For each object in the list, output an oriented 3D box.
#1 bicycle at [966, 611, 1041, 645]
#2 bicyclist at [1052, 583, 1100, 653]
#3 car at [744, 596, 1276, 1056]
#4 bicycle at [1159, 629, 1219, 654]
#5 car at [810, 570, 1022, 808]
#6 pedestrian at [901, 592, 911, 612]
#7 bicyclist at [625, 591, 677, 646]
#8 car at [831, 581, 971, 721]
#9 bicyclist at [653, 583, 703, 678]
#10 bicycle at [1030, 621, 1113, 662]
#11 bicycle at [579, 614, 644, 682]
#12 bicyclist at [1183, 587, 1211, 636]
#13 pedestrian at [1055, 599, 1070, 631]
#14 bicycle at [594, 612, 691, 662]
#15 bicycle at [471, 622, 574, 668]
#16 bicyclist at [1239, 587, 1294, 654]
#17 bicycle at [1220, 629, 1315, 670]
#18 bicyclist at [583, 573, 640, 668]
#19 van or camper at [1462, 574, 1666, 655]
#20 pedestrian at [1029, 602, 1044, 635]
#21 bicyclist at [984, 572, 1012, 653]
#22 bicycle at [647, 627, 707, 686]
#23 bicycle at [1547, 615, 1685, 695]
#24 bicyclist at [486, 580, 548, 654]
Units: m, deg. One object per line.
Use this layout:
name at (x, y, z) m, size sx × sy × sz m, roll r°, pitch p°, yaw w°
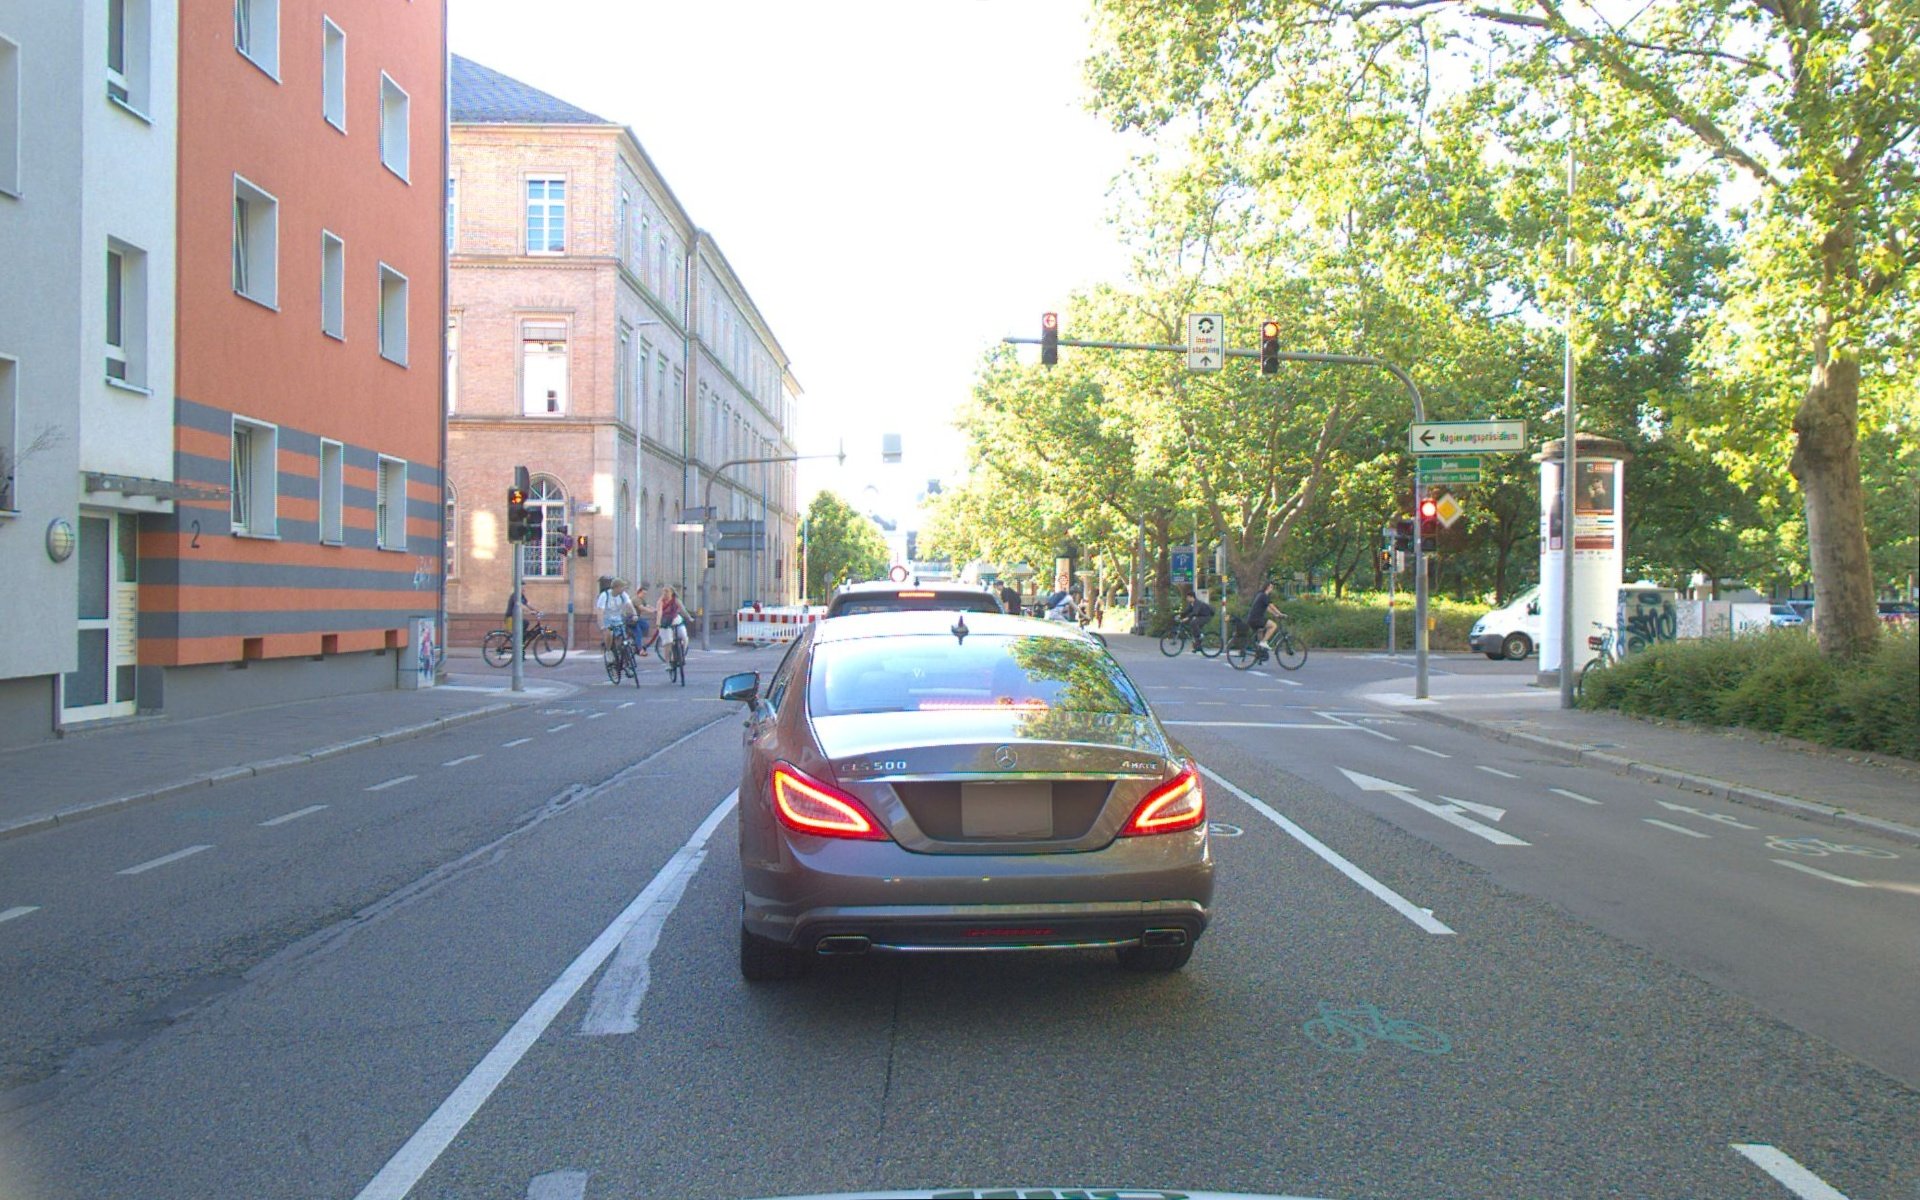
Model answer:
bicycle at (1.109, 0.709, 42.206) m, size 1.856 × 0.851 × 0.457 m, roll 0°, pitch 0°, yaw -9°
bicyclist at (2.628, 0.401, 37.469) m, size 1.052 × 1.546 × 0.717 m, roll 0°, pitch 0°, yaw 4°
car at (-0.094, 0.731, 7.643) m, size 1.769 × 1.482 × 4.343 m, roll 0°, pitch 0°, yaw -8°
bicycle at (6.087, 1.112, 43.970) m, size 1.554 × 0.646 × 0.496 m, roll 0°, pitch 0°, yaw 3°
car at (-0.406, 0.632, 13.713) m, size 1.487 × 1.675 × 3.878 m, roll 1°, pitch 0°, yaw -3°
pedestrian at (-4.333, 0.190, 133.720) m, size 0.785 × 1.604 × 0.844 m, roll 0°, pitch 0°, yaw -1°
bicyclist at (-6.669, 0.390, 35.715) m, size 0.971 × 1.174 × 0.620 m, roll 0°, pitch 0°, yaw 1°
car at (-0.784, 0.646, 23.228) m, size 1.783 × 1.793 × 3.999 m, roll 0°, pitch 0°, yaw -1°
bicyclist at (-4.859, 0.513, 28.472) m, size 0.675 × 1.605 × 0.976 m, roll 0°, pitch 0°, yaw -21°
bicycle at (2.530, 0.941, 37.471) m, size 1.853 × 0.898 × 0.726 m, roll 0°, pitch 0°, yaw 3°
bicycle at (-5.983, 0.808, 28.316) m, size 0.850 × 1.097 × 1.826 m, roll 0°, pitch 0°, yaw -20°
bicyclist at (6.309, 0.297, 44.059) m, size 0.689 × 1.282 × 0.458 m, roll 0°, pitch 0°, yaw 3°
pedestrian at (4.687, 0.679, 75.502) m, size 0.635 × 1.458 × 0.659 m, roll 0°, pitch 0°, yaw -1°
bicycle at (-6.849, 0.792, 35.723) m, size 1.939 × 1.045 × 0.652 m, roll 0°, pitch 0°, yaw 1°
bicycle at (-9.143, 0.941, 34.598) m, size 1.946 × 0.919 × 0.733 m, roll 0°, pitch 0°, yaw -1°
bicyclist at (6.651, 0.437, 35.914) m, size 1.080 × 1.427 × 0.658 m, roll 0°, pitch 0°, yaw 2°
bicycle at (6.669, 1.067, 35.915) m, size 1.933 × 0.851 × 0.677 m, roll 0°, pitch 0°, yaw 1°
bicyclist at (-5.951, 0.347, 28.216) m, size 0.830 × 1.582 × 0.834 m, roll 0°, pitch 0°, yaw -21°
van or camper at (15.373, 0.352, 42.273) m, size 4.484 × 1.975 × 2.001 m, roll 0°, pitch 0°, yaw 2°
pedestrian at (3.514, 0.836, 75.894) m, size 0.635 × 1.529 × 0.637 m, roll 0°, pitch 0°, yaw -1°
bicyclist at (0.973, 0.320, 42.201) m, size 0.640 × 2.049 × 0.439 m, roll 0°, pitch 0°, yaw -9°
bicycle at (-4.911, 0.964, 28.622) m, size 0.683 × 0.945 × 1.852 m, roll 0°, pitch 0°, yaw -21°
bicycle at (9.425, 0.783, 23.792) m, size 1.766 × 1.116 × 0.510 m, roll 0°, pitch 0°, yaw 2°
bicyclist at (-9.260, 0.356, 34.593) m, size 1.094 × 1.516 × 0.711 m, roll 0°, pitch 0°, yaw -1°
